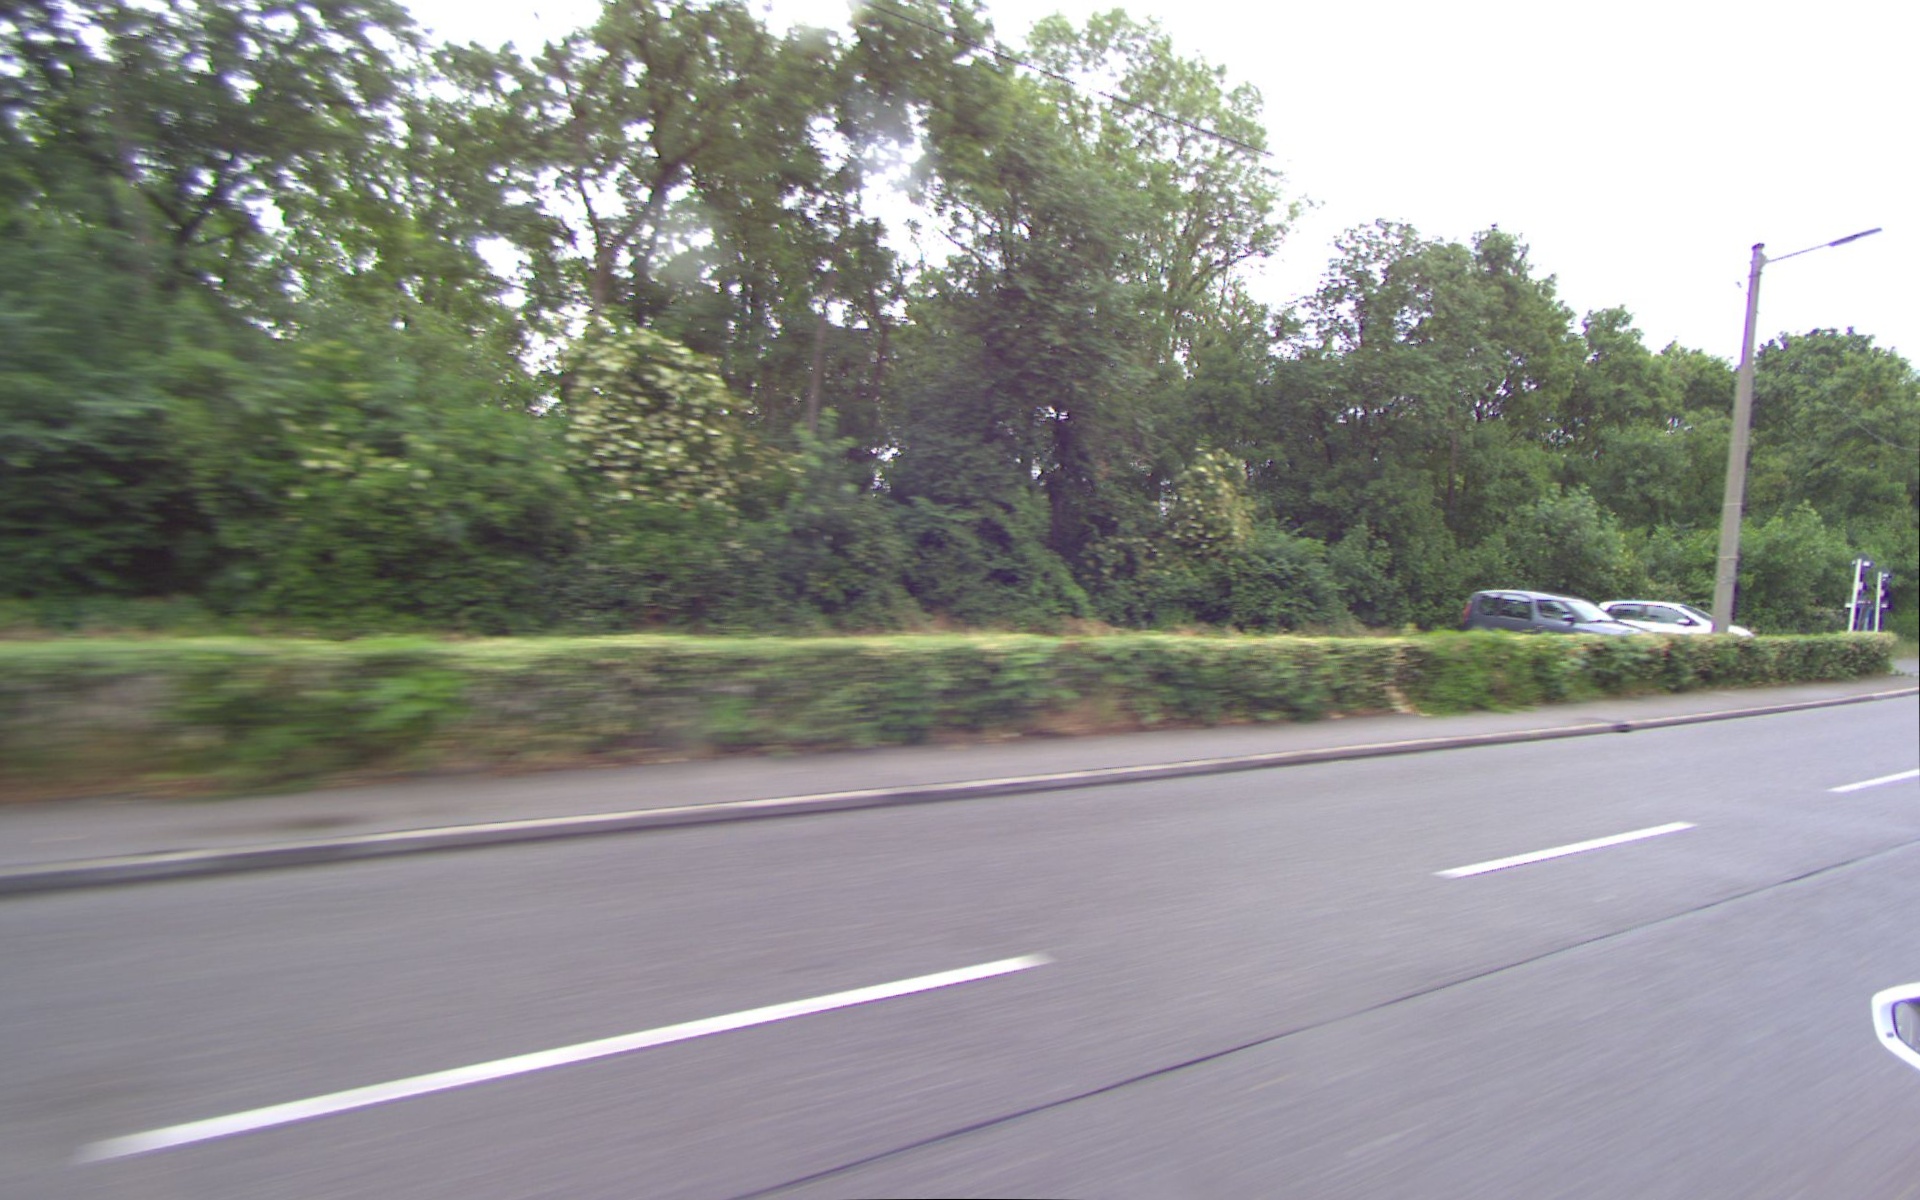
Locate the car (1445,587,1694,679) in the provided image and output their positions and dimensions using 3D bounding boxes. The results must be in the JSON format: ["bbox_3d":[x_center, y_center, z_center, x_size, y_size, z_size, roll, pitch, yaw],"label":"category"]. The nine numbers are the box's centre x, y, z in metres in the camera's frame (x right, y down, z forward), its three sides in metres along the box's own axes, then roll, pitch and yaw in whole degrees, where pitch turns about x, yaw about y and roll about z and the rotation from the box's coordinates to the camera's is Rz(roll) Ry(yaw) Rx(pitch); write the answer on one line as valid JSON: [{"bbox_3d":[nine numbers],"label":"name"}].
[{"bbox_3d":[13.357,0.650,22.302,1.976,1.731,4.270,1,1,-30],"label":"car"}]

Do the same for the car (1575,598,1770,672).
[{"bbox_3d":[17.971,0.822,25.472,1.834,1.612,3.619,1,1,-36],"label":"car"}]
